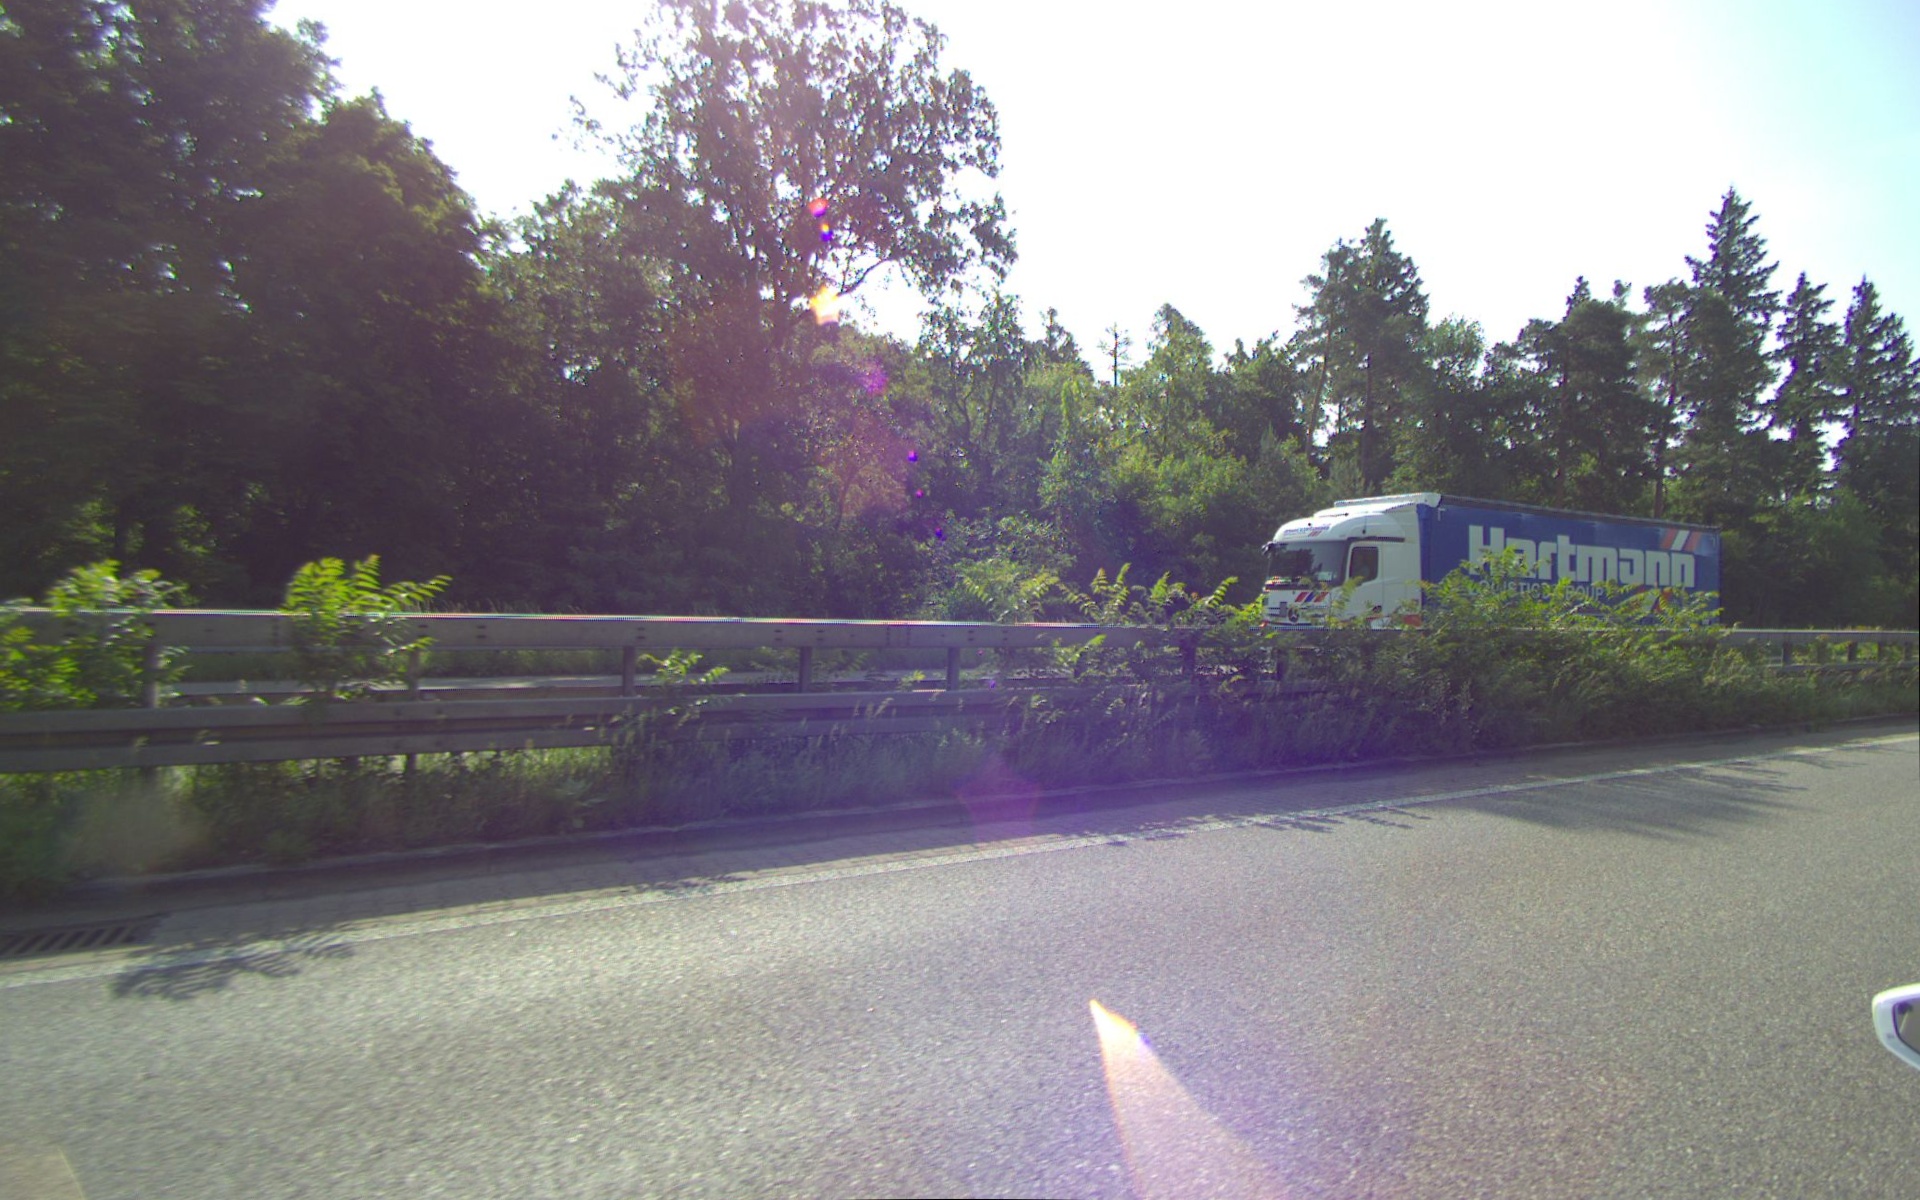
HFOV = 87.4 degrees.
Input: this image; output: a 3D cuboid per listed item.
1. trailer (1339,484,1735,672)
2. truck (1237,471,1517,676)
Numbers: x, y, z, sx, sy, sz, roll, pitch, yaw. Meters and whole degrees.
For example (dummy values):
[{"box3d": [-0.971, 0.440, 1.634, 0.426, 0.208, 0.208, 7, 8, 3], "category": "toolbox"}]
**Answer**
[{"box3d": [15.519, -0.319, 26.307, 13.167, 4.061, 2.879, 1, -2, -30], "category": "trailer"}, {"box3d": [9.473, -0.433, 22.737, 5.954, 4.085, 2.879, 1, -2, -30], "category": "truck"}]
